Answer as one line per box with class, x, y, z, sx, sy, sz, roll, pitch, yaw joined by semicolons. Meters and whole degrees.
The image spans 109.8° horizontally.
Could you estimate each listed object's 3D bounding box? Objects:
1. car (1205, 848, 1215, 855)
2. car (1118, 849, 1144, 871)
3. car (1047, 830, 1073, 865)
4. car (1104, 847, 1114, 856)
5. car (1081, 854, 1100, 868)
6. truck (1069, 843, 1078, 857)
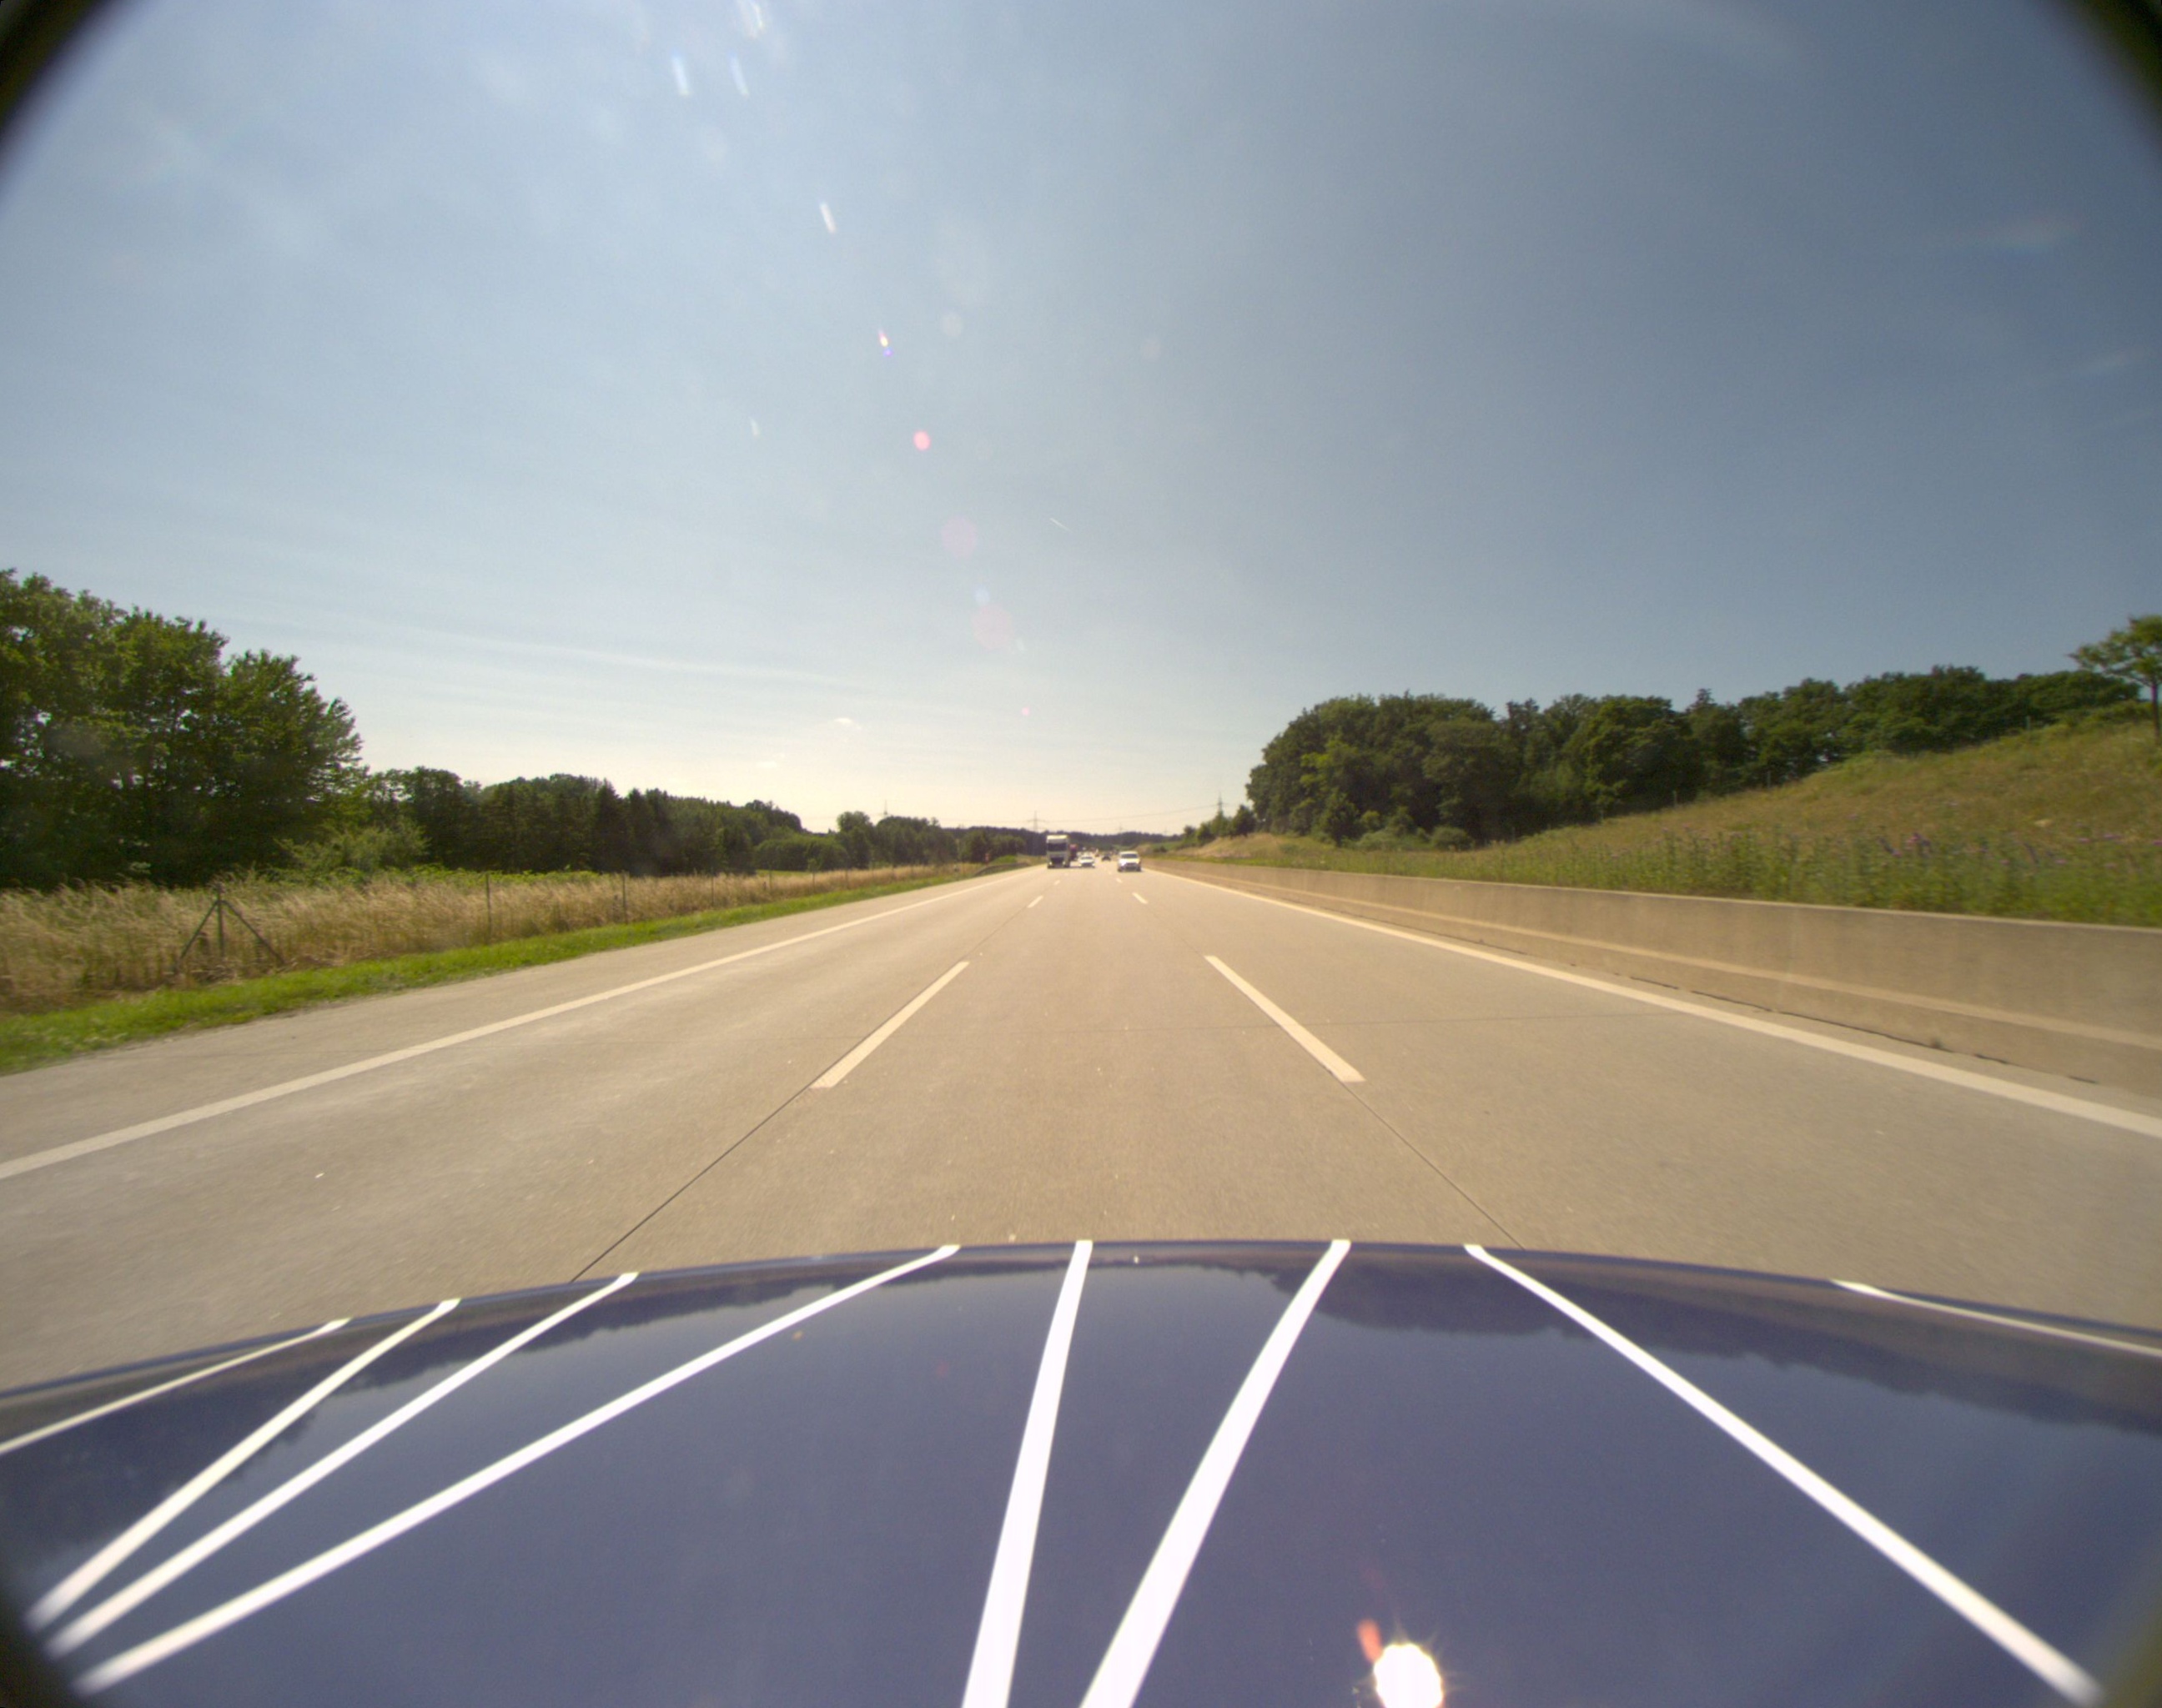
car;26.977;-0.539;159.167;1.500;1.392;3.628;-5;0;0
car;4.209;0.465;64.937;1.850;1.698;6.035;-2;1;1
car;-2.541;-0.802;96.236;2.766;4.029;10.852;-1;0;1
car;5.960;-0.604;164.817;1.998;1.835;6.529;-3;0;1
car;1.139;0.777;88.980;2.065;1.472;5.068;-5;0;0
truck;-1.826;-0.940;187.321;2.351;3.473;5.245;-1;0;0
